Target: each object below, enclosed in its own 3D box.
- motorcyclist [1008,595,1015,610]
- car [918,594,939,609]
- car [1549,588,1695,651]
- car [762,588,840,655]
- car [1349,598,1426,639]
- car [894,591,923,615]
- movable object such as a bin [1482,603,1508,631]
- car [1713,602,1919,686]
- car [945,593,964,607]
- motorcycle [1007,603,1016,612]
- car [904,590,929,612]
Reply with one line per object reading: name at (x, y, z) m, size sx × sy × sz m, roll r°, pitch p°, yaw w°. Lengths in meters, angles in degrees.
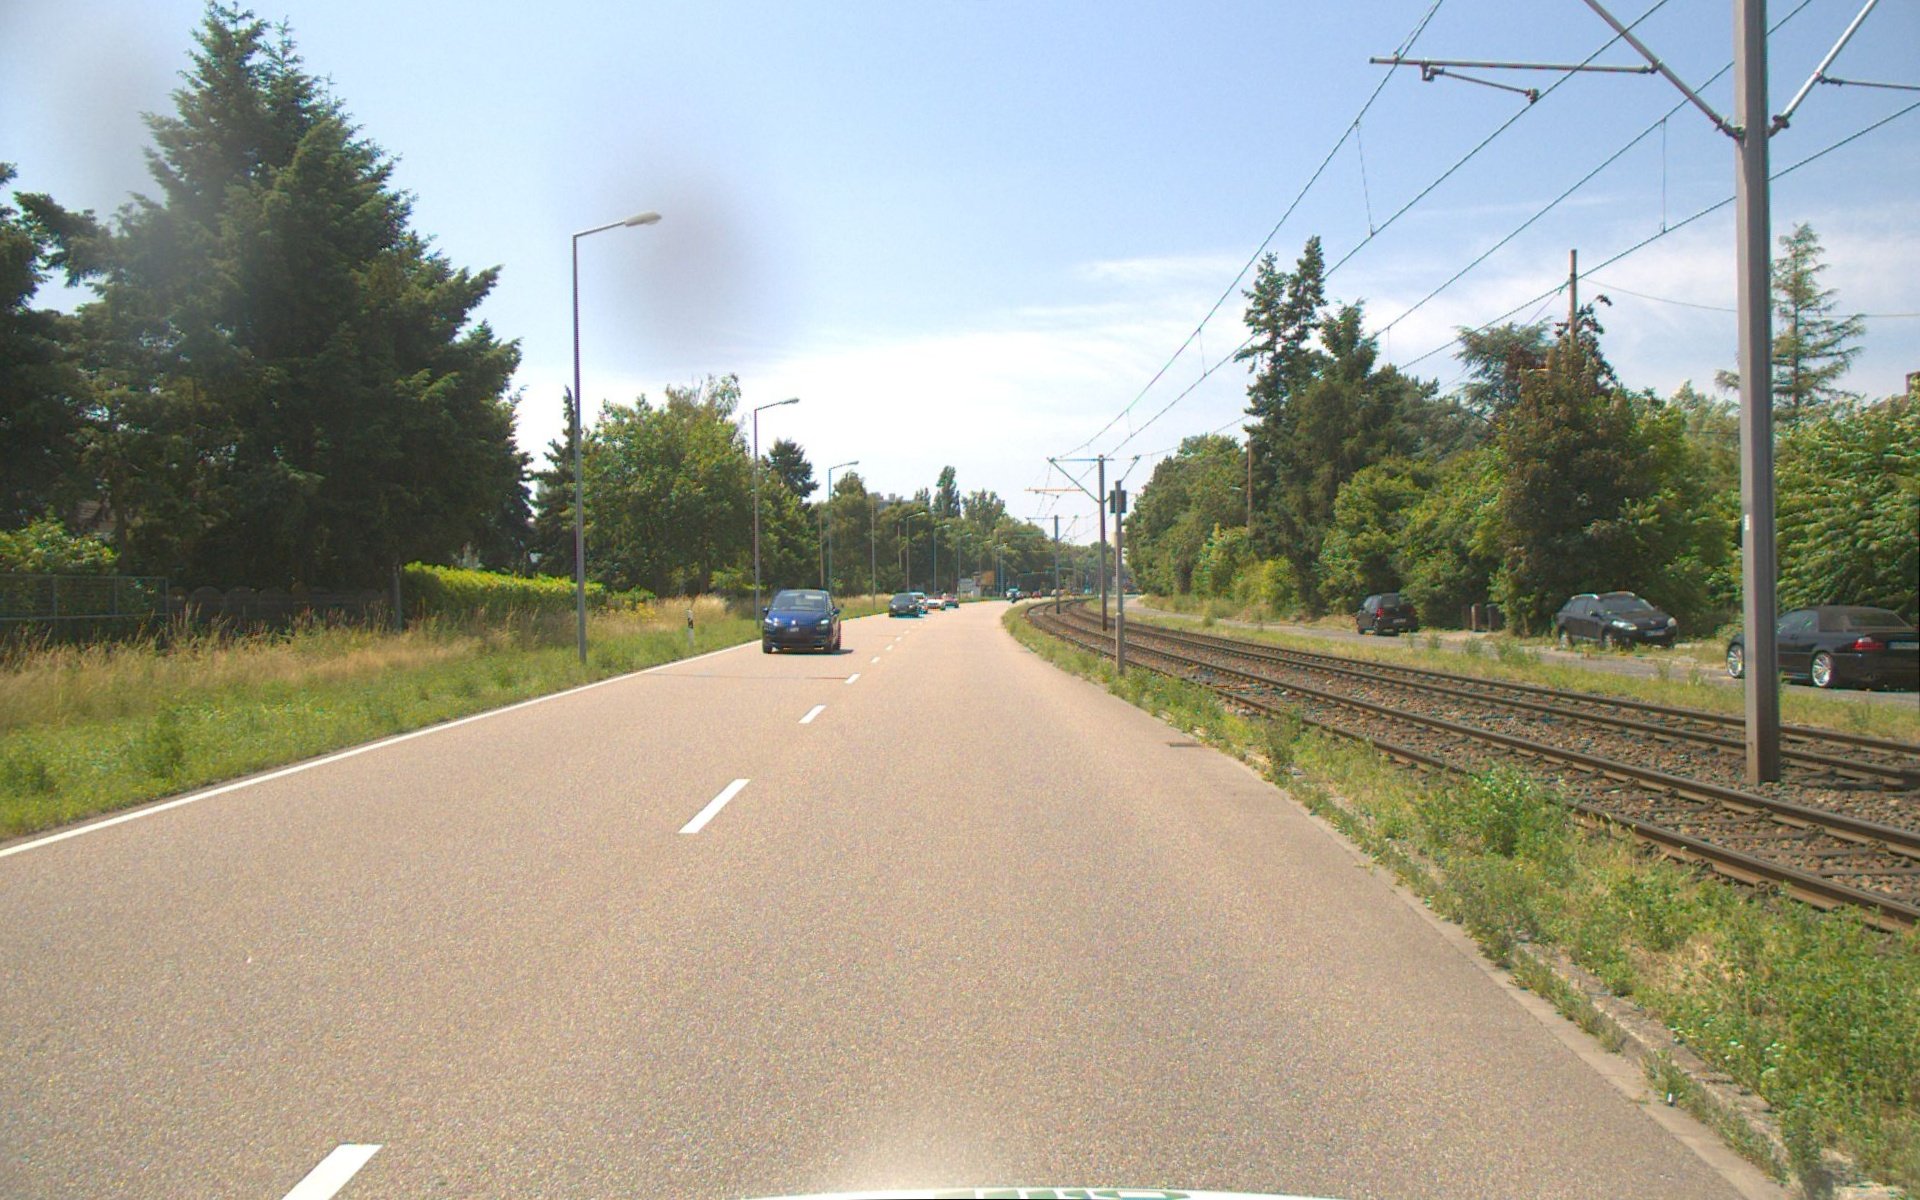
motorcyclist at (6.585, 0.287, 210.892) m, size 0.873 × 1.938 × 1.016 m, roll 0°, pitch 0°, yaw 4°
car at (-2.664, 0.116, 141.110) m, size 1.648 × 1.271 × 3.909 m, roll 0°, pitch 0°, yaw 0°
car at (17.491, 0.485, 43.950) m, size 1.896 × 1.588 × 4.554 m, roll 0°, pitch 0°, yaw -3°
car at (-4.117, 0.536, 43.430) m, size 1.711 × 1.660 × 4.029 m, roll 0°, pitch 0°, yaw -1°
car at (15.944, 0.675, 61.851) m, size 1.875 × 1.496 × 4.000 m, roll 0°, pitch 0°, yaw 0°
car at (-3.230, 0.192, 104.498) m, size 1.665 × 1.517 × 4.440 m, roll 0°, pitch 0°, yaw 0°
movable object such as a bin at (18.462, 0.600, 57.097) m, size 0.709 × 0.953 × 0.621 m, roll 0°, pitch 0°, yaw 0°
car at (15.199, 0.713, 28.952) m, size 1.823 × 1.353 × 4.513 m, roll 0°, pitch 0°, yaw -3°
car at (-0.537, 0.017, 159.747) m, size 1.713 × 1.324 × 4.253 m, roll -2°, pitch 0°, yaw 0°
motorcycle at (6.596, 0.897, 210.969) m, size 0.949 × 1.137 × 2.734 m, roll 0°, pitch 0°, yaw 4°
car at (-3.182, 0.067, 121.513) m, size 1.711 × 1.529 × 3.707 m, roll 0°, pitch 0°, yaw 0°
